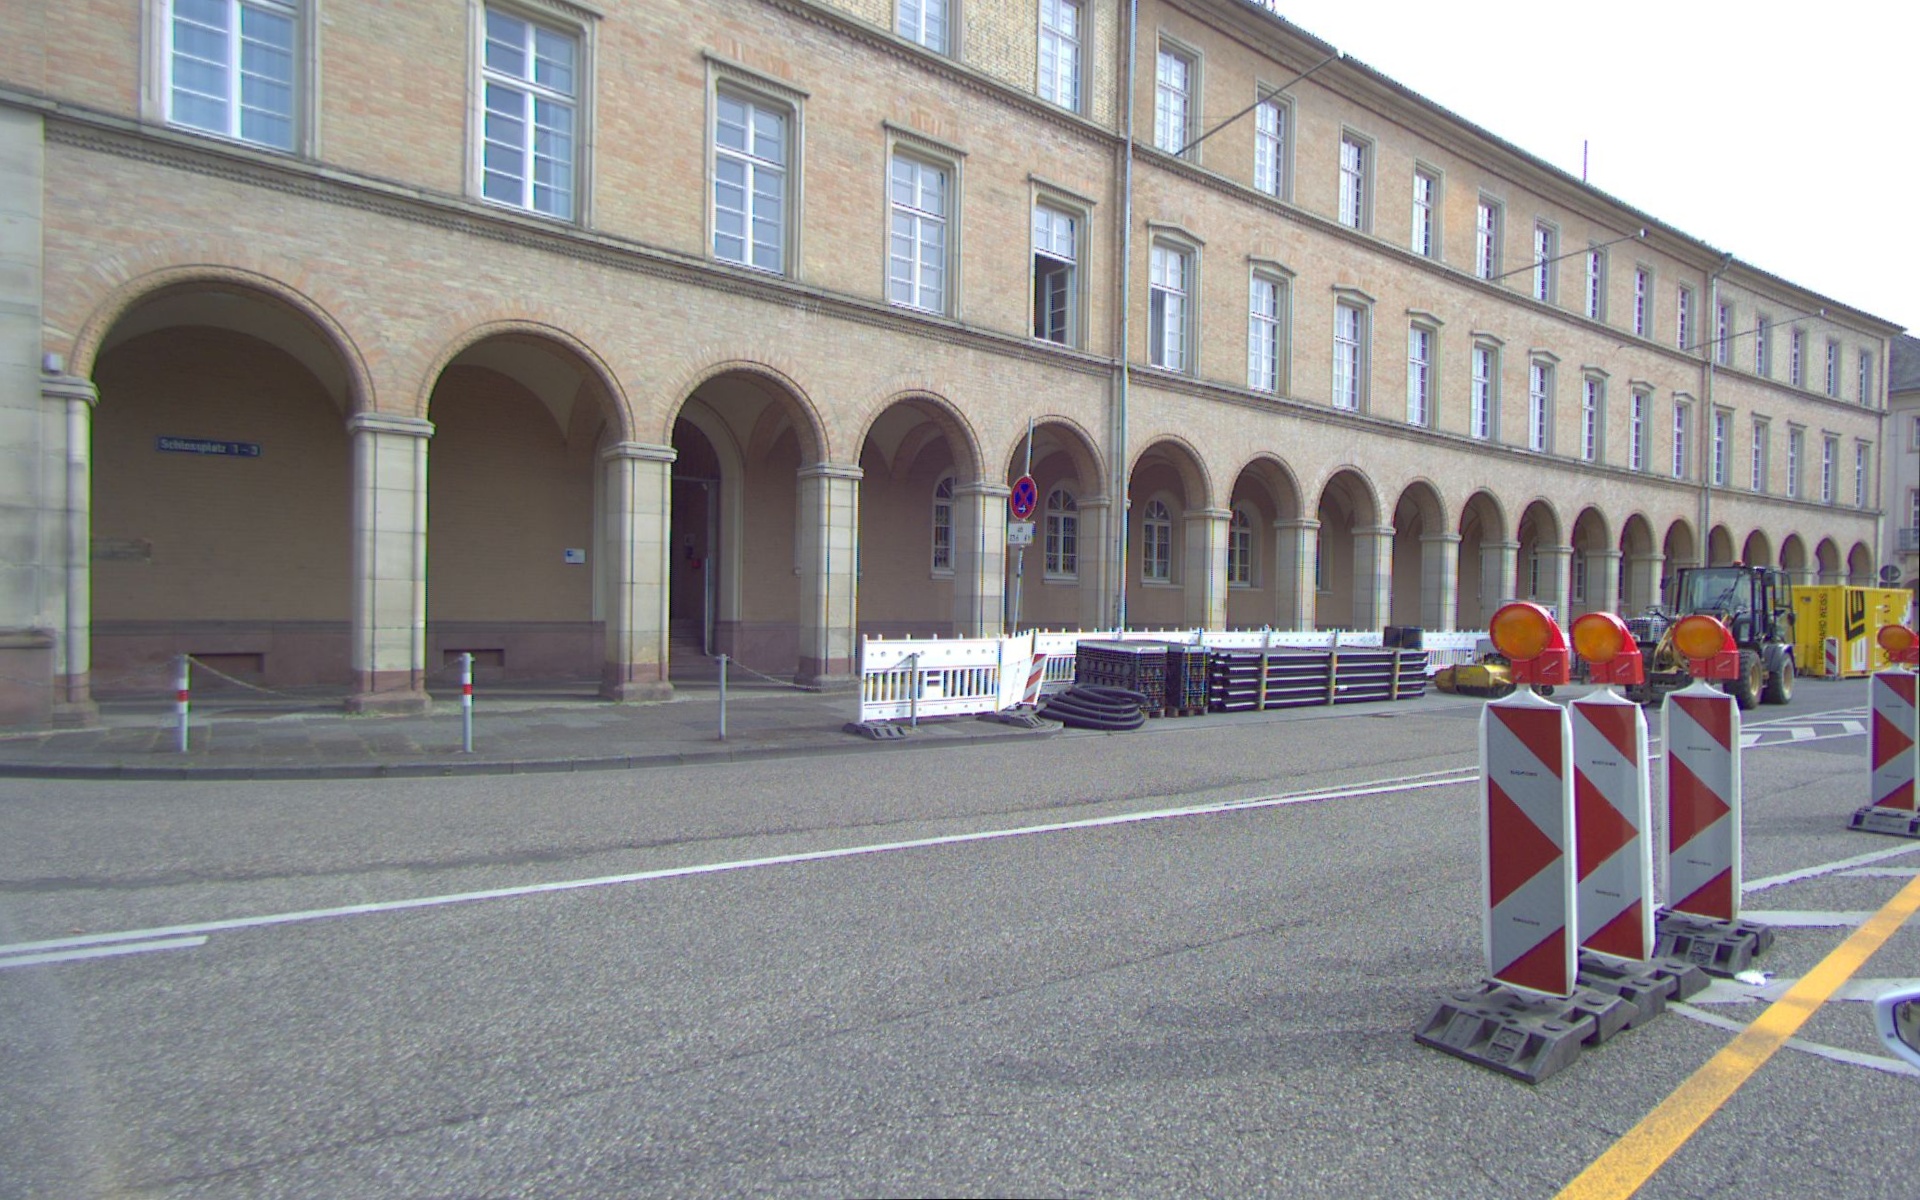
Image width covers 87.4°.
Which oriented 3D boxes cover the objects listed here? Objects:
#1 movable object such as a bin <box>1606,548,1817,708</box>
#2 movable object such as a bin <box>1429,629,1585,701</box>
[{"bbox_3d":[14.653,0.526,19.508,4.577,2.754,2.100,2,0,-37],"label":"movable object such as a bin"},{"bbox_3d":[11.280,1.285,20.720,2.721,1.140,1.794,-1,4,-36],"label":"movable object such as a bin"}]
